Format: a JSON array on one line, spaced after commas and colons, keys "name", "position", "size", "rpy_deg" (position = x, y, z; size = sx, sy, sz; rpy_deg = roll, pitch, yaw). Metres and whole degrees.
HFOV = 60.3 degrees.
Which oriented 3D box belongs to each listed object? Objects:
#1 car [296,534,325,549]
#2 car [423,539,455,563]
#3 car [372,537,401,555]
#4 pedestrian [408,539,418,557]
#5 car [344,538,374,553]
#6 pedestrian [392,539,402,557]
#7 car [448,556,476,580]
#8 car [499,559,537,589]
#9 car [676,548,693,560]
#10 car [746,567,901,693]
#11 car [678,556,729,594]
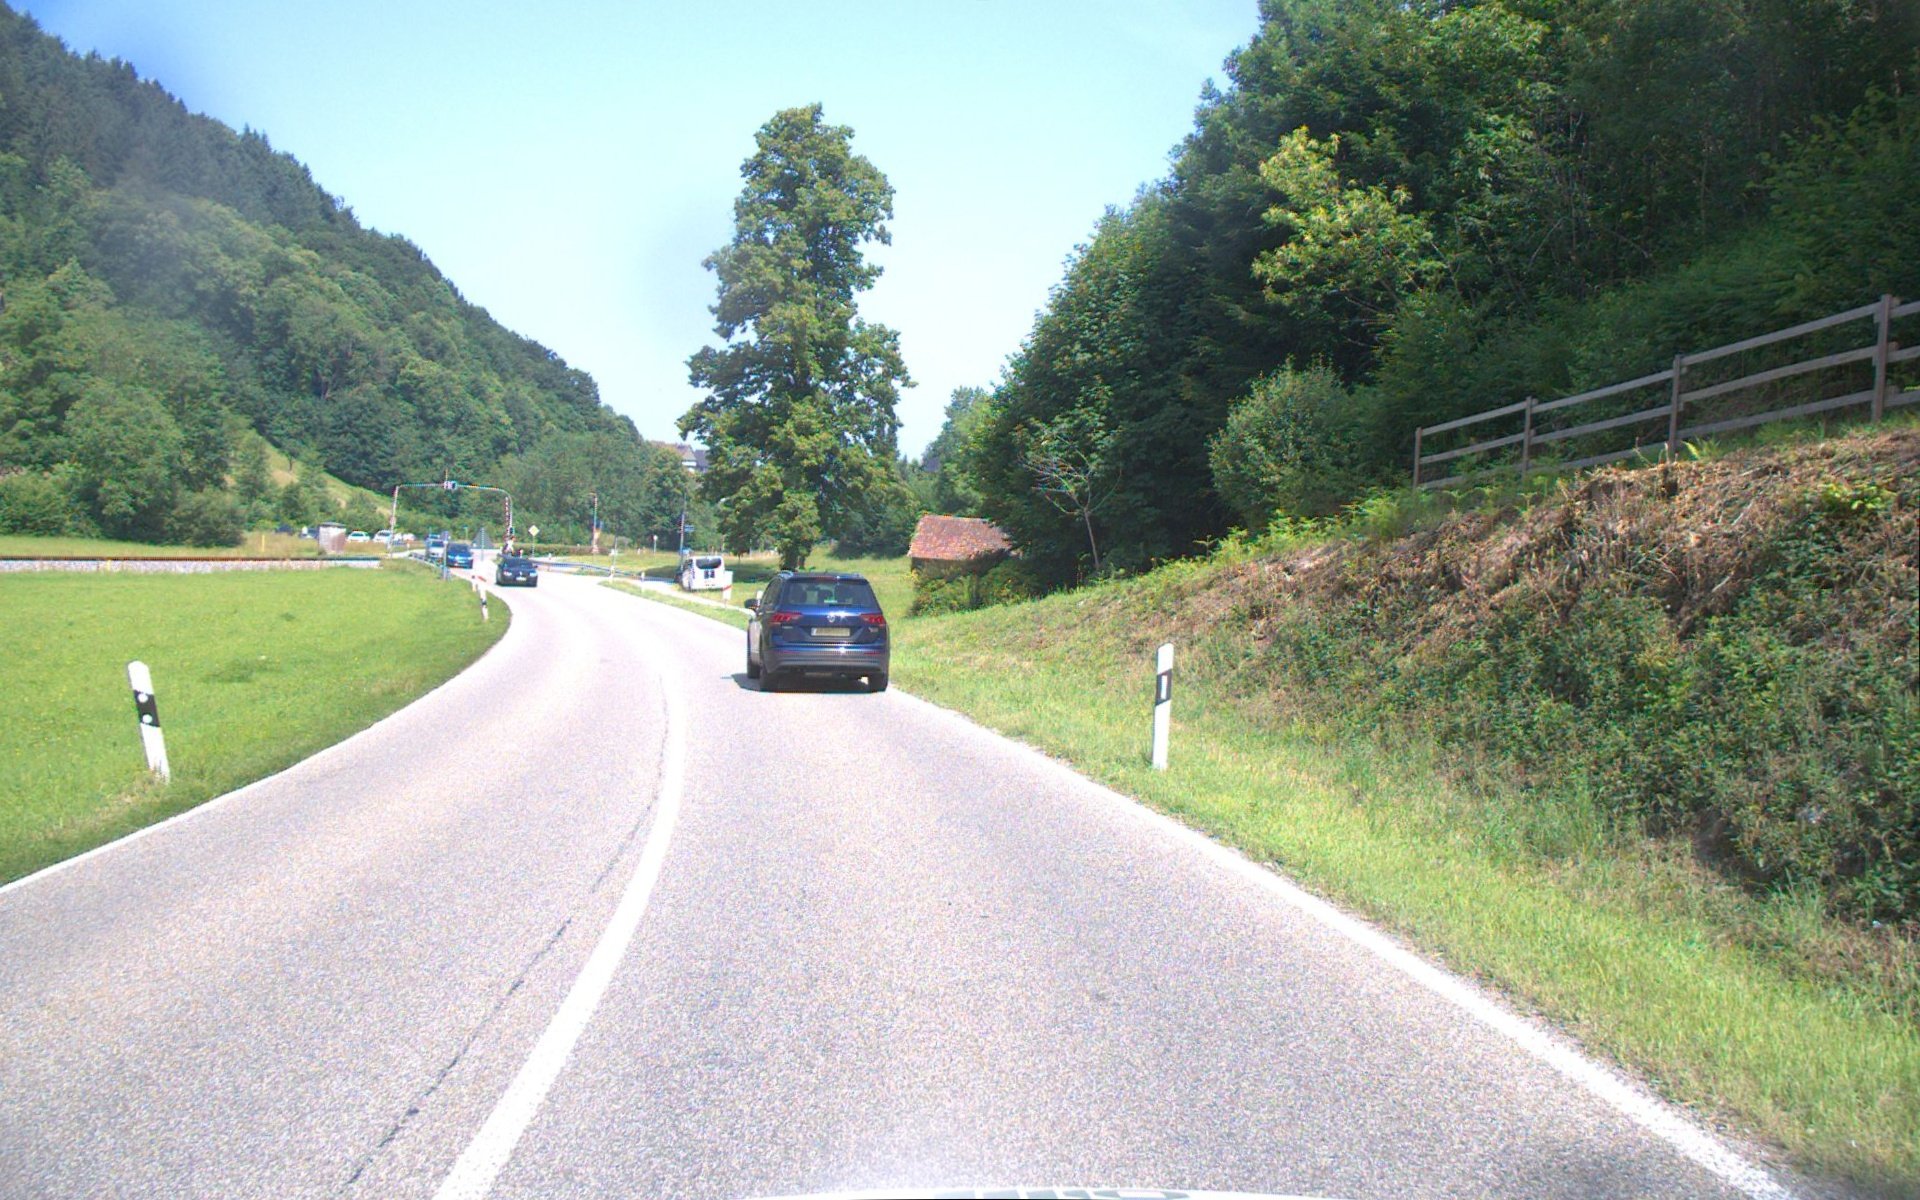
[{"name": "car", "position": [-71.349, -6.407, 181.750], "size": [1.957, 1.526, 4.512], "rpy_deg": [4, 1, -10]}, {"name": "car", "position": [-40.309, -3.819, 127.922], "size": [1.890, 1.744, 4.130], "rpy_deg": [1, 2, -23]}, {"name": "car", "position": [-63.682, -5.982, 183.619], "size": [1.834, 1.813, 4.768], "rpy_deg": [3, 1, -4]}, {"name": "pedestrian", "position": [-58.851, -5.603, 178.012], "size": [0.634, 1.891, 0.770], "rpy_deg": [2, 1, 26]}, {"name": "car", "position": [-66.349, -6.008, 182.671], "size": [1.956, 1.669, 4.894], "rpy_deg": [2, 1, -7]}, {"name": "pedestrian", "position": [-60.020, -5.535, 176.427], "size": [0.771, 1.874, 0.699], "rpy_deg": [2, 1, 0]}, {"name": "car", "position": [-34.753, -2.249, 115.497], "size": [1.836, 1.651, 4.489], "rpy_deg": [0, 2, -17]}, {"name": "car", "position": [-23.580, -1.396, 88.204], "size": [1.885, 1.496, 4.493], "rpy_deg": [2, 1, -15]}, {"name": "car", "position": [-43.052, -7.190, 258.525], "size": [1.767, 1.646, 4.000], "rpy_deg": [3, -1, 1]}, {"name": "car", "position": [-2.083, 0.374, 24.168], "size": [1.820, 1.678, 4.129], "rpy_deg": [0, 1, -11]}, {"name": "car", "position": [-14.026, -1.397, 90.167], "size": [1.968, 1.880, 4.845], "rpy_deg": [-3, 3, -18]}]
